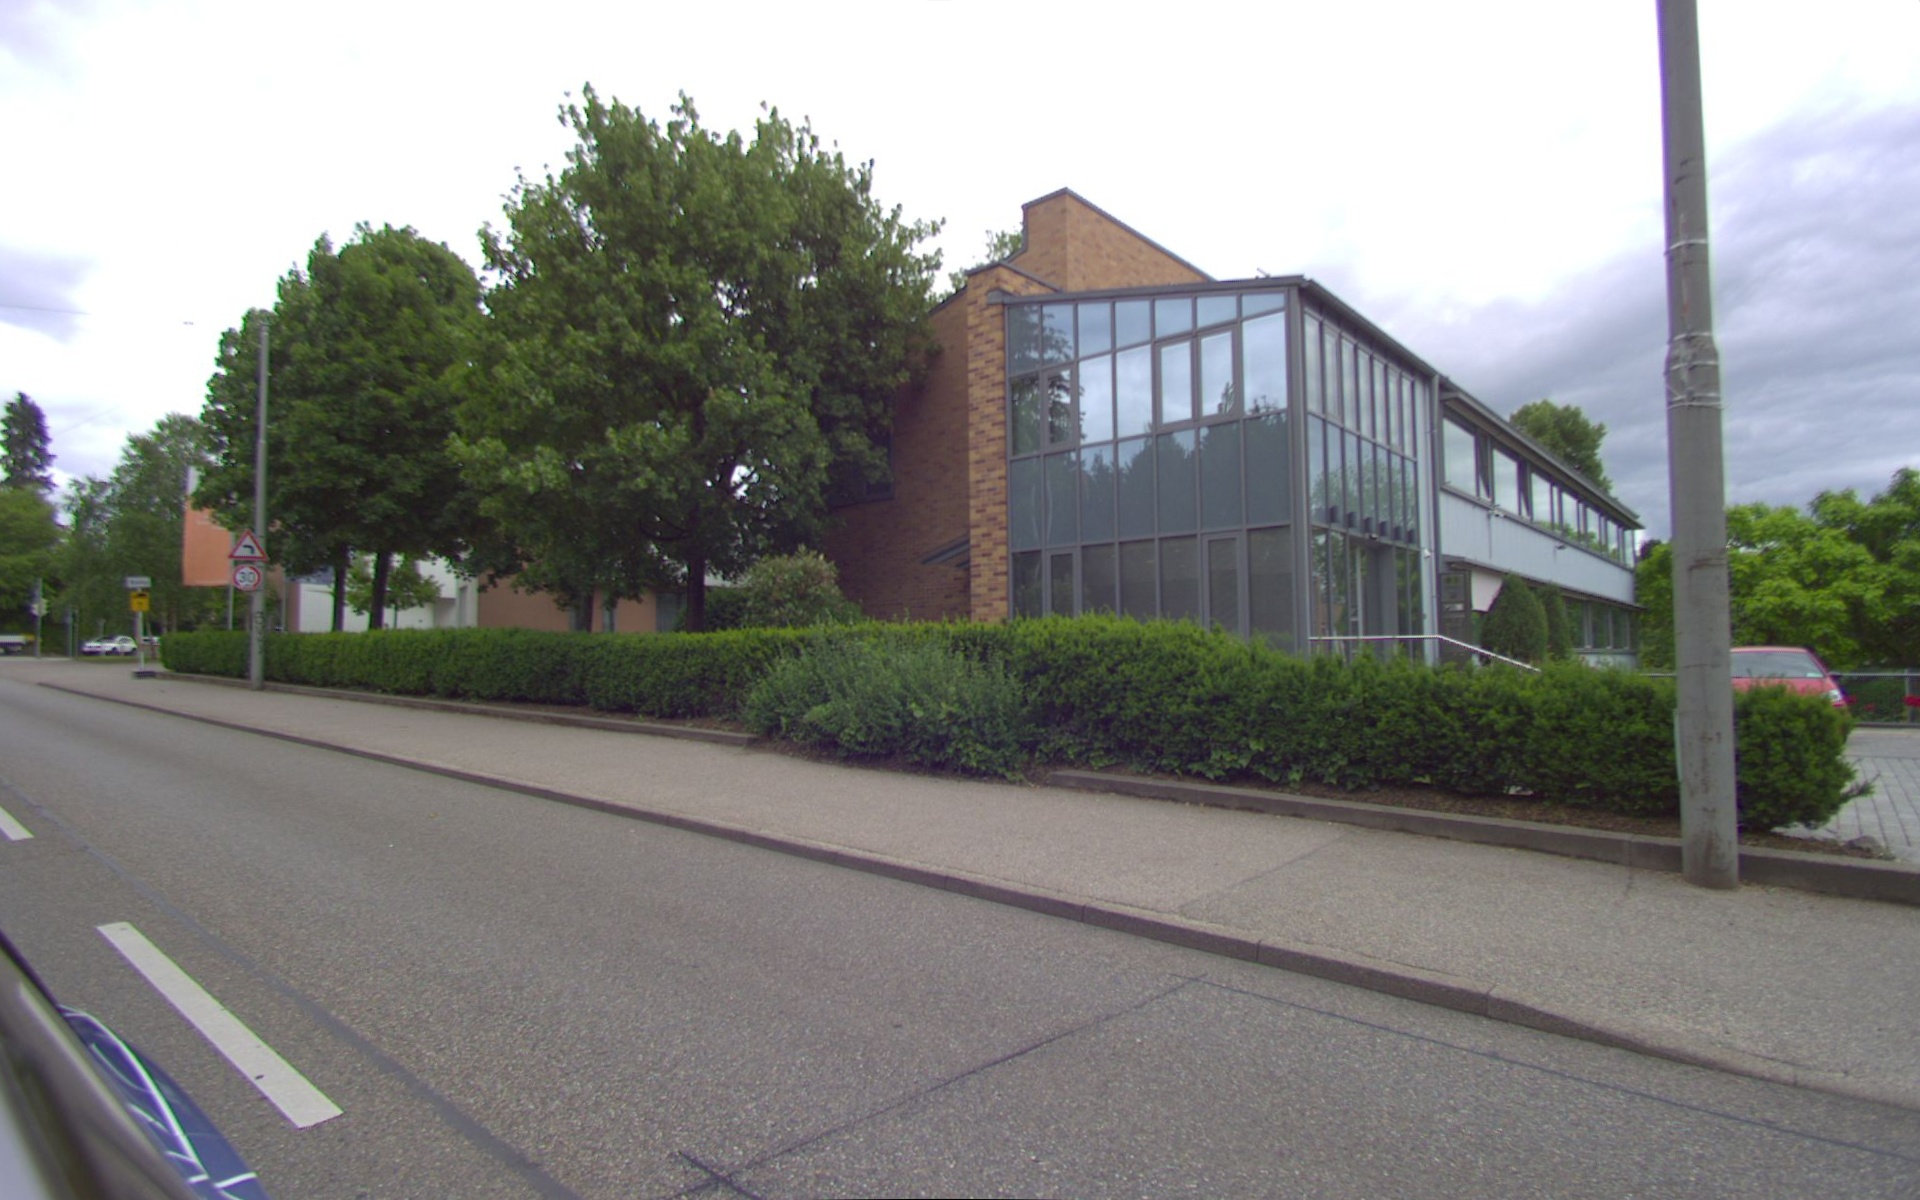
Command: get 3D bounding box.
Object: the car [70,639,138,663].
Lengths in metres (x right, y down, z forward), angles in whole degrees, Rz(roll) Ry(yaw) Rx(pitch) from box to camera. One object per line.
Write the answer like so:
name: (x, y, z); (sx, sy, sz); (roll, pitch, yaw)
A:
car: (-61.780, 3.723, 73.122); (1.967, 1.625, 4.009); (2, -4, -11)

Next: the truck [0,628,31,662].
truck: (-64.901, 2.844, 65.570); (6.610, 2.205, 2.534); (4, -4, -39)

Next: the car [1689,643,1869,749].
car: (13.156, 1.468, 16.465); (1.650, 1.503, 3.422); (-2, -3, 29)
